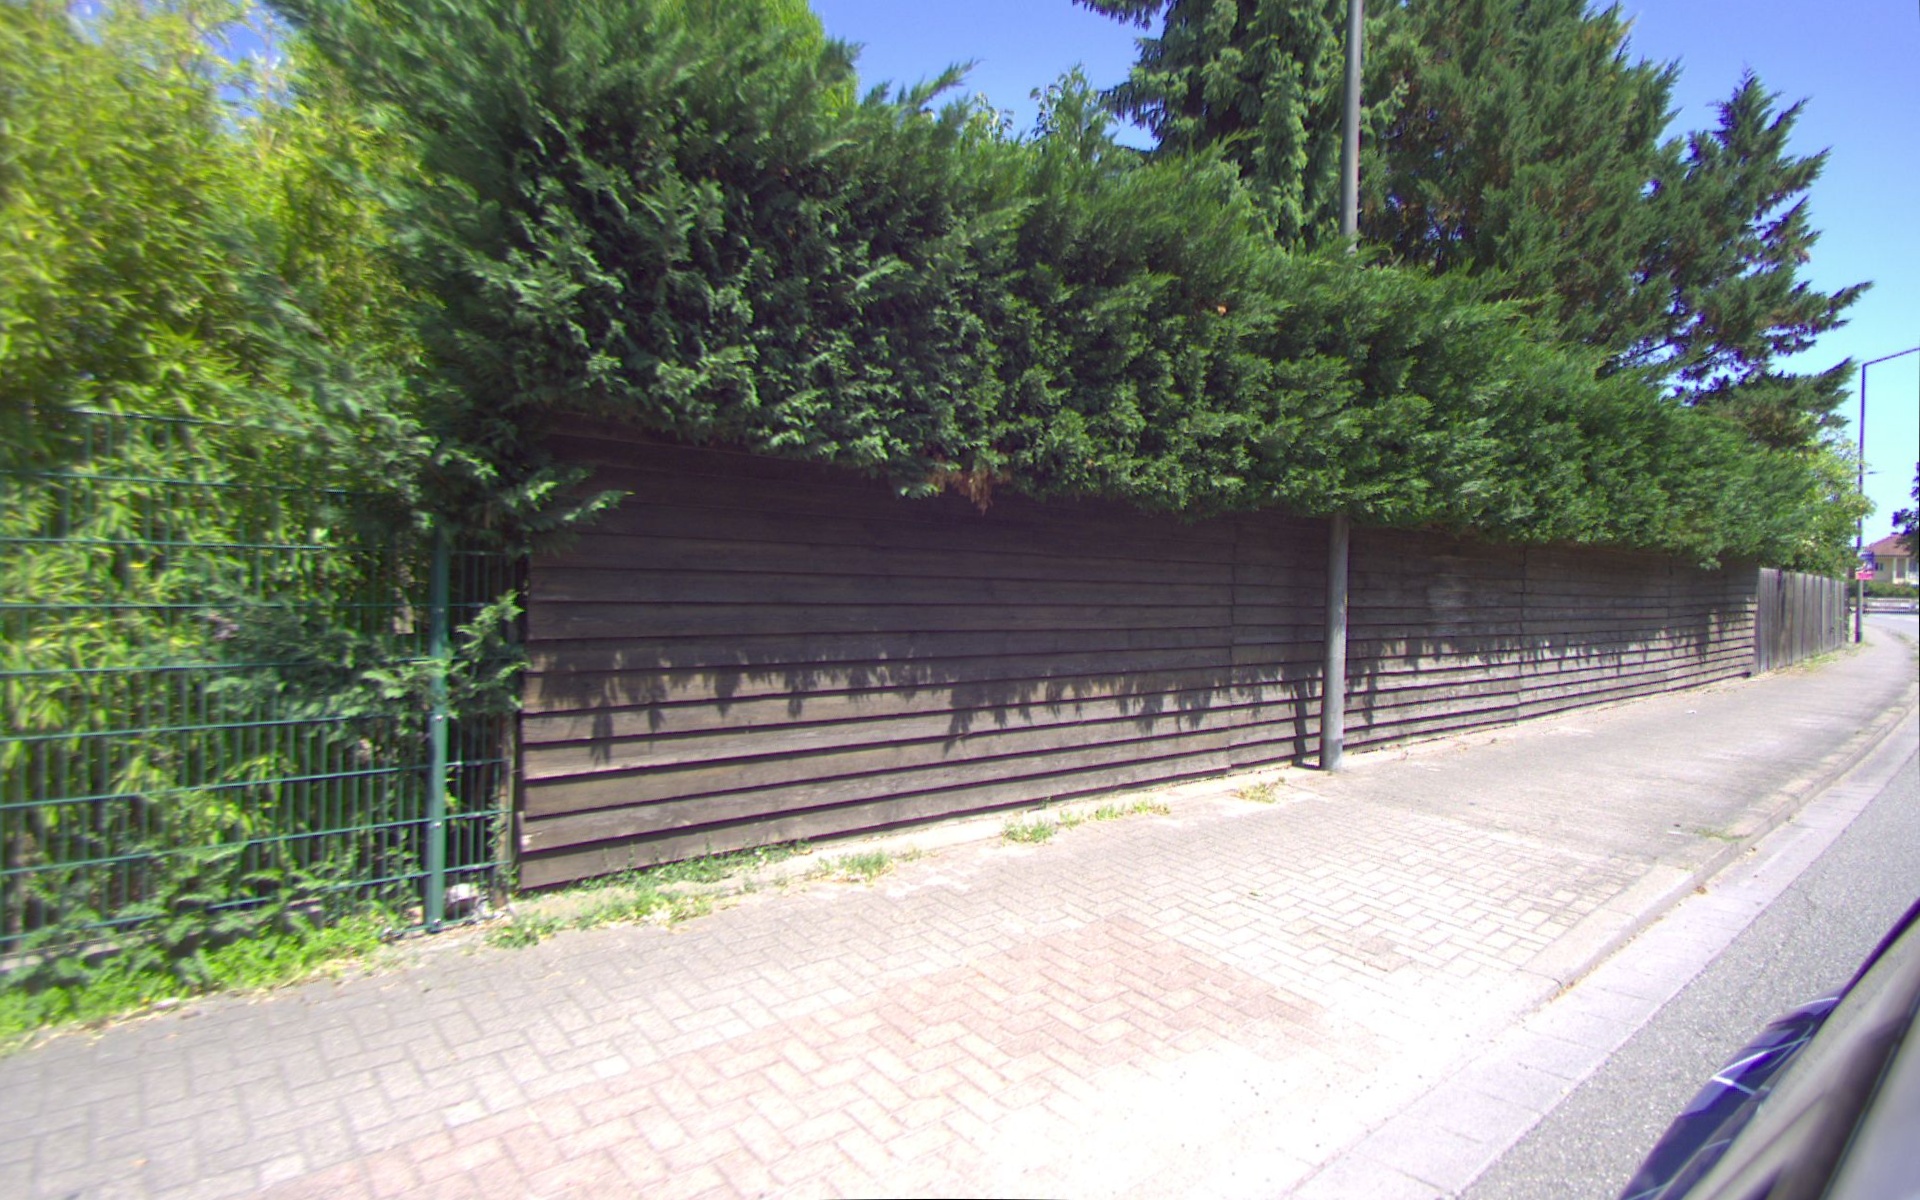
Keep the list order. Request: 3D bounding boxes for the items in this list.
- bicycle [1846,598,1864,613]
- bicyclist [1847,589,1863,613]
[{"bbox_3d":[70.805,0.423,80.082,0.848,1.181,1.952,1,1,35],"label":"bicycle"},{"bbox_3d":[70.808,0.067,80.073,0.843,1.889,0.964,1,0,36],"label":"bicyclist"}]
